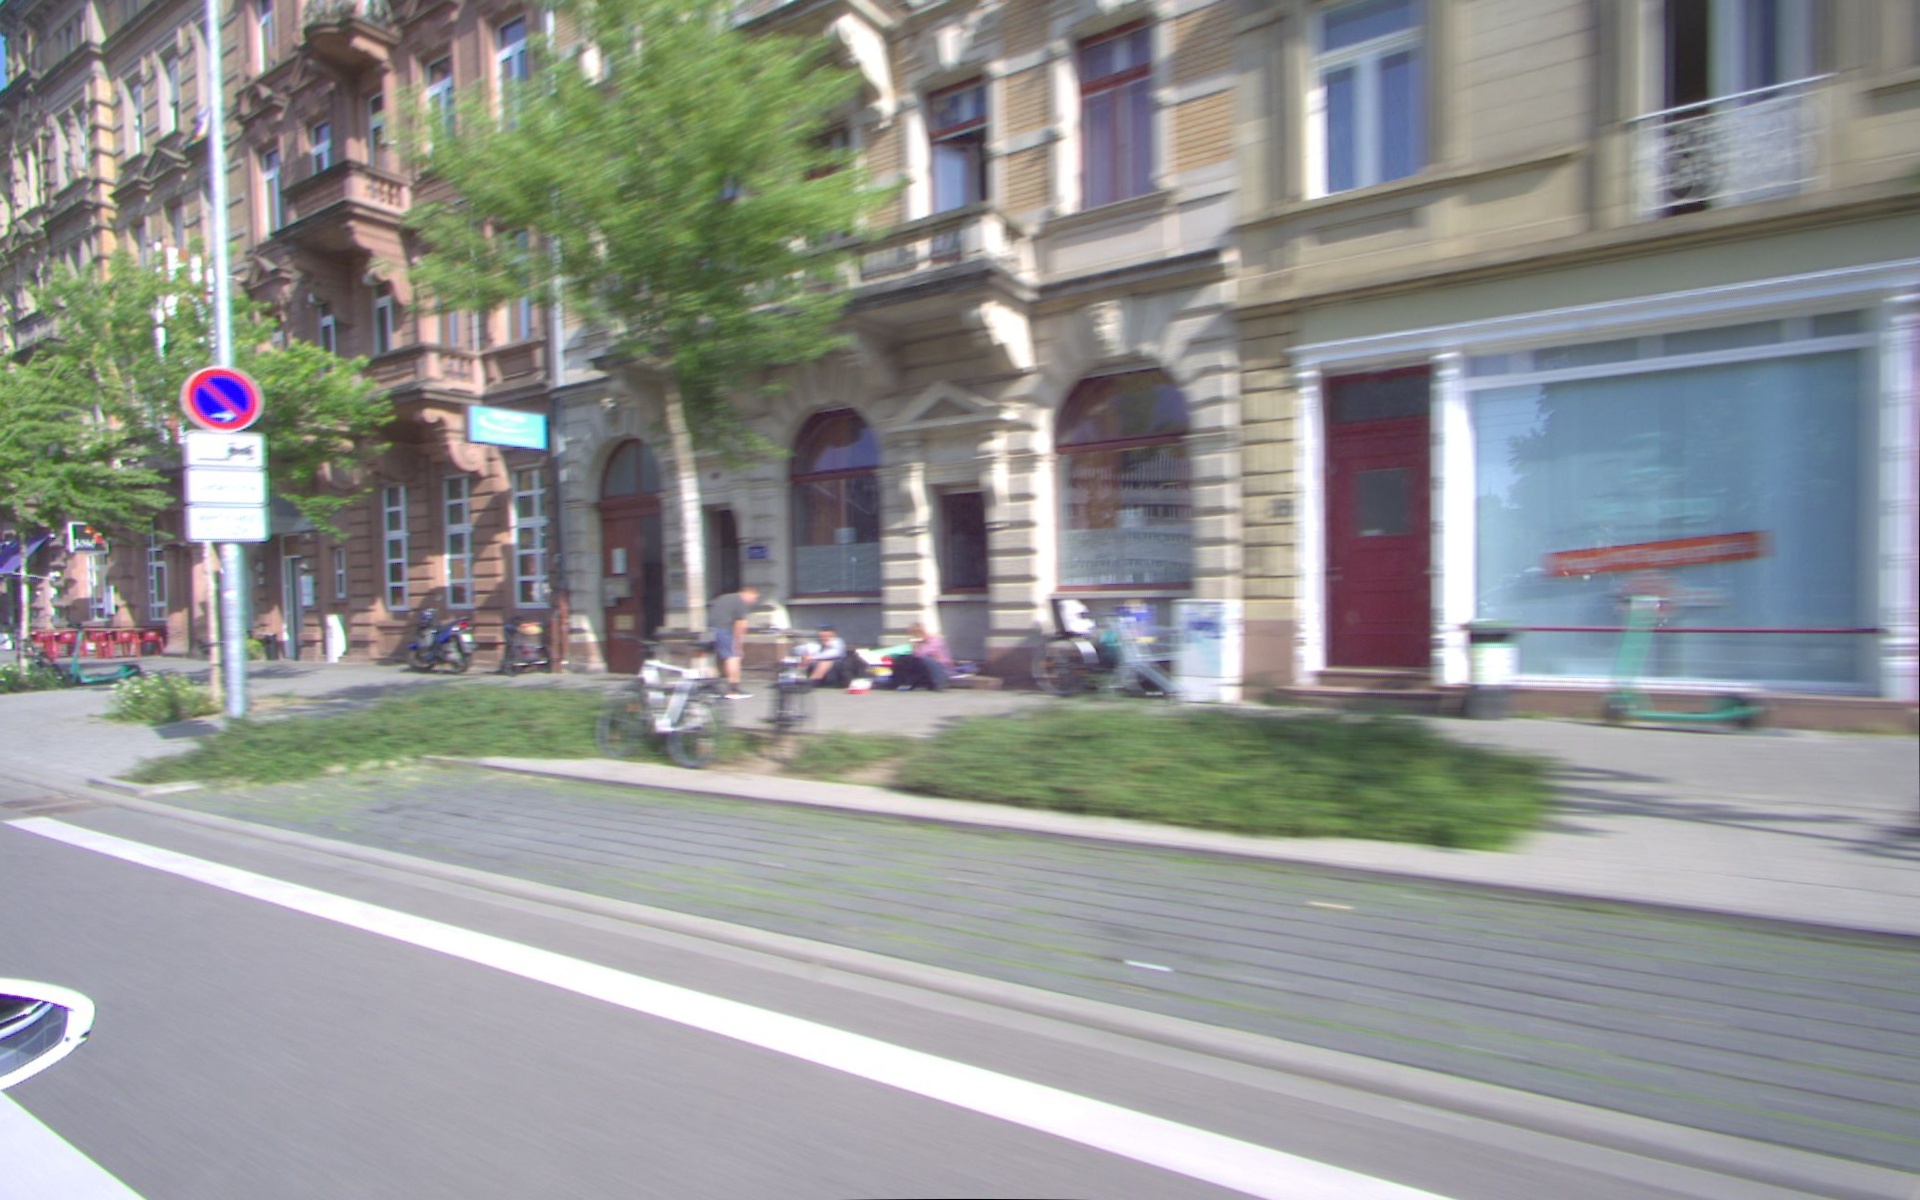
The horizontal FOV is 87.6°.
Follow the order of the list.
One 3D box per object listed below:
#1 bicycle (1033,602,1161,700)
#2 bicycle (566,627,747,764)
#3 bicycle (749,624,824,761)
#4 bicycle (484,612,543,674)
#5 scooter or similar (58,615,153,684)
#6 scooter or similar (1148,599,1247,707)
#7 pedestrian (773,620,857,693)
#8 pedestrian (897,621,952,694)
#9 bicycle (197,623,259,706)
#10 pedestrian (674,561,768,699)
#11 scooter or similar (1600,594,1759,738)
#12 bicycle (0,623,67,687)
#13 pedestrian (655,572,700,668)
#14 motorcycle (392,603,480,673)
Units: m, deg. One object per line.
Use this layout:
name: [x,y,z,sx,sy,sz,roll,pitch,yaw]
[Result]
bicycle: [1.605,0.584,11.756,1.424,1.098,0.451,-1,1,23]
bicycle: [-2.738,0.809,8.947,1.800,1.108,0.491,-1,1,33]
bicycle: [-1.609,0.782,9.107,0.447,1.096,1.875,-2,-1,-16]
bicycle: [-7.775,0.734,17.415,1.239,1.032,0.395,-1,1,38]
scooter or similar: [-16.068,0.909,18.848,0.335,1.173,1.251,0,3,36]
scooter or similar: [2.625,0.562,11.074,0.918,1.140,0.605,0,1,33]
pedestrian: [-1.928,0.741,13.409,0.700,0.889,0.876,0,3,29]
pedestrian: [-0.440,0.715,12.637,0.450,0.867,0.569,0,3,27]
bicycle: [-10.650,0.908,14.549,0.501,1.075,1.697,-4,3,-42]
pedestrian: [-3.094,0.366,13.008,0.781,1.720,0.821,0,3,28]
scooter or similar: [6.046,0.531,8.442,1.075,1.149,0.287,0,1,38]
bicycle: [-17.636,1.019,18.818,1.895,1.137,0.595,-1,1,26]
pedestrian: [-5.029,0.351,17.822,0.561,1.680,0.484,0,1,20]
motorcycle: [-9.409,0.666,17.955,1.918,1.192,0.462,-1,3,33]
